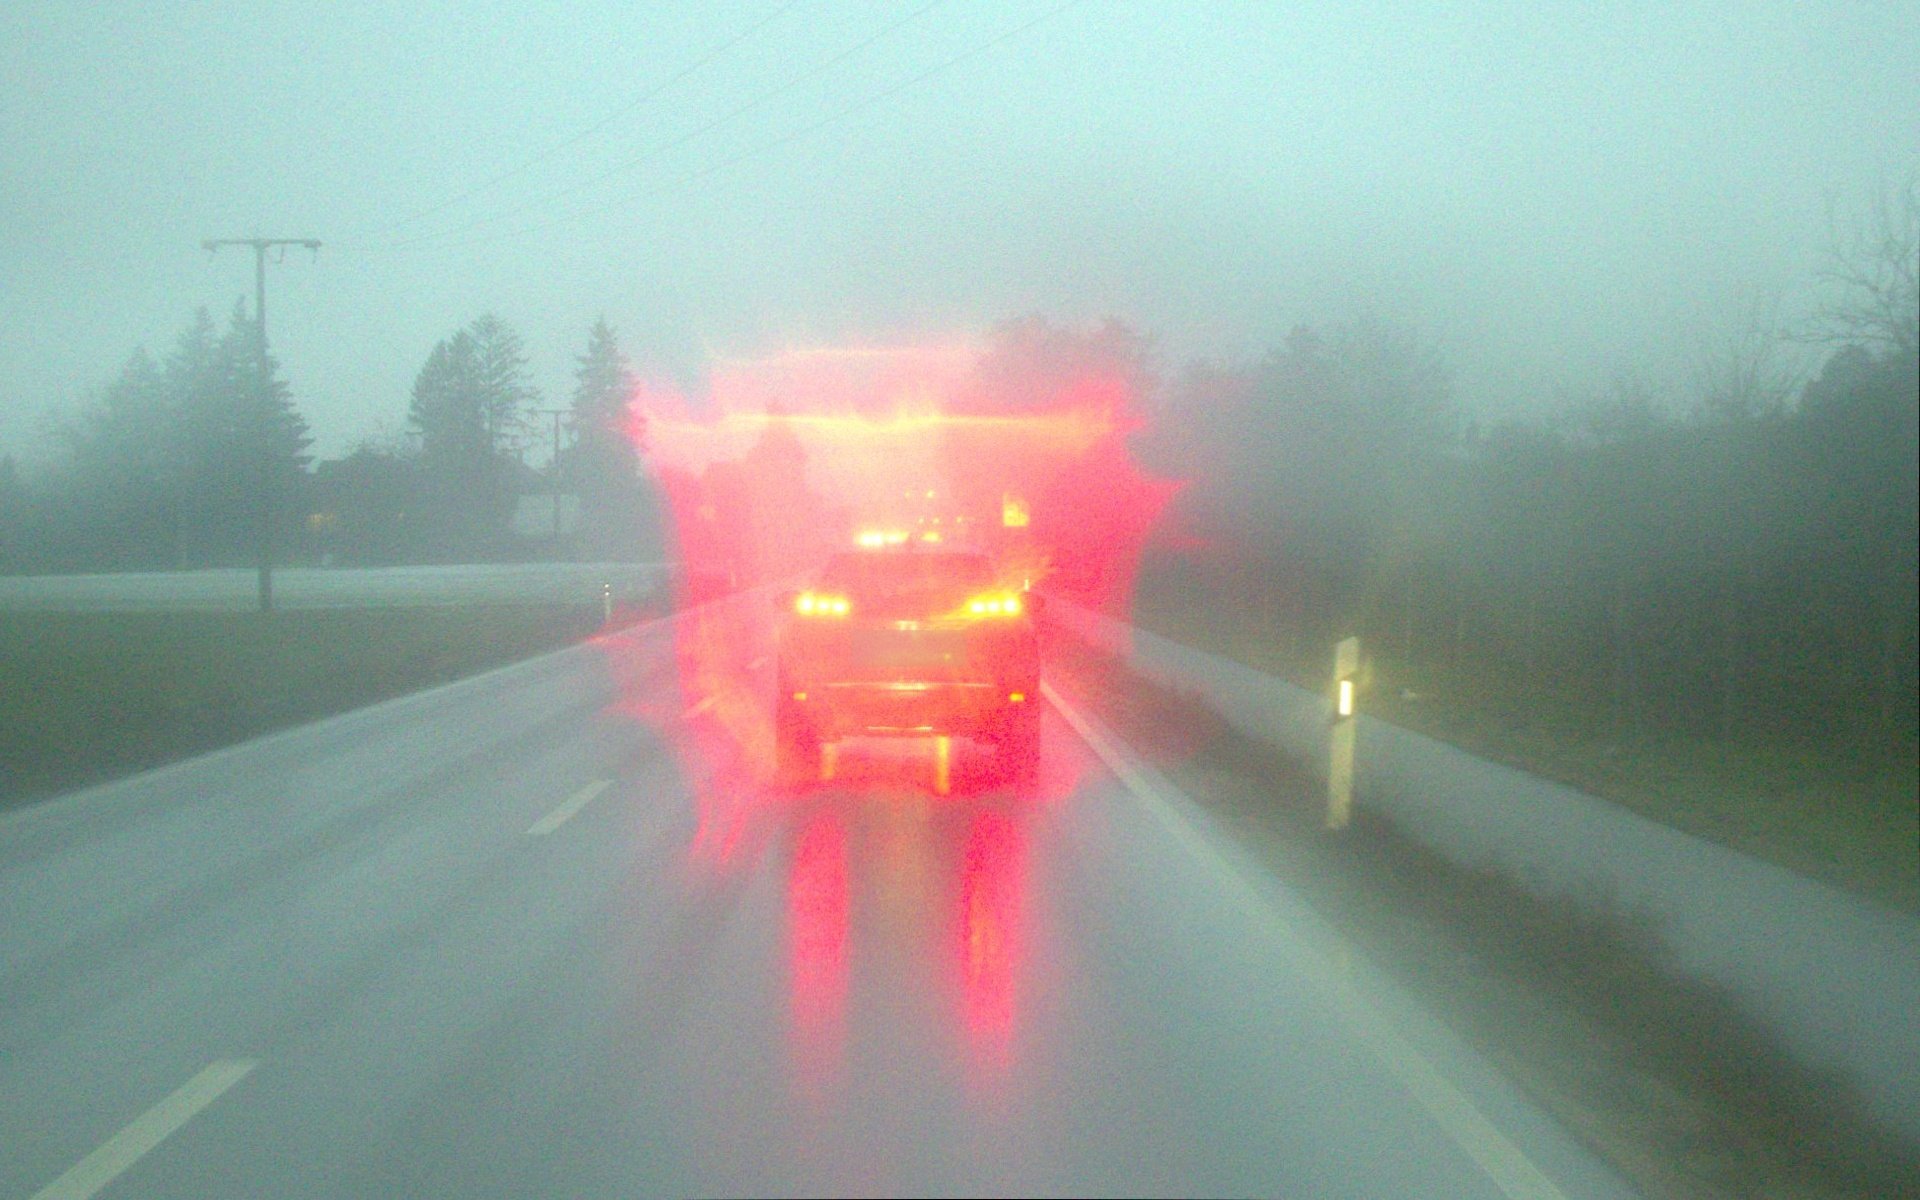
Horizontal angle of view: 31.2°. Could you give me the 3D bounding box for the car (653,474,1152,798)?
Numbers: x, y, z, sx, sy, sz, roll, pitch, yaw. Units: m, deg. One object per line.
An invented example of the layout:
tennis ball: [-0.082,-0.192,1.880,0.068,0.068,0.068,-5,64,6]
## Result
car: [-0.371,0.154,25.411,3.164,2.028,6.852,-1,1,0]
